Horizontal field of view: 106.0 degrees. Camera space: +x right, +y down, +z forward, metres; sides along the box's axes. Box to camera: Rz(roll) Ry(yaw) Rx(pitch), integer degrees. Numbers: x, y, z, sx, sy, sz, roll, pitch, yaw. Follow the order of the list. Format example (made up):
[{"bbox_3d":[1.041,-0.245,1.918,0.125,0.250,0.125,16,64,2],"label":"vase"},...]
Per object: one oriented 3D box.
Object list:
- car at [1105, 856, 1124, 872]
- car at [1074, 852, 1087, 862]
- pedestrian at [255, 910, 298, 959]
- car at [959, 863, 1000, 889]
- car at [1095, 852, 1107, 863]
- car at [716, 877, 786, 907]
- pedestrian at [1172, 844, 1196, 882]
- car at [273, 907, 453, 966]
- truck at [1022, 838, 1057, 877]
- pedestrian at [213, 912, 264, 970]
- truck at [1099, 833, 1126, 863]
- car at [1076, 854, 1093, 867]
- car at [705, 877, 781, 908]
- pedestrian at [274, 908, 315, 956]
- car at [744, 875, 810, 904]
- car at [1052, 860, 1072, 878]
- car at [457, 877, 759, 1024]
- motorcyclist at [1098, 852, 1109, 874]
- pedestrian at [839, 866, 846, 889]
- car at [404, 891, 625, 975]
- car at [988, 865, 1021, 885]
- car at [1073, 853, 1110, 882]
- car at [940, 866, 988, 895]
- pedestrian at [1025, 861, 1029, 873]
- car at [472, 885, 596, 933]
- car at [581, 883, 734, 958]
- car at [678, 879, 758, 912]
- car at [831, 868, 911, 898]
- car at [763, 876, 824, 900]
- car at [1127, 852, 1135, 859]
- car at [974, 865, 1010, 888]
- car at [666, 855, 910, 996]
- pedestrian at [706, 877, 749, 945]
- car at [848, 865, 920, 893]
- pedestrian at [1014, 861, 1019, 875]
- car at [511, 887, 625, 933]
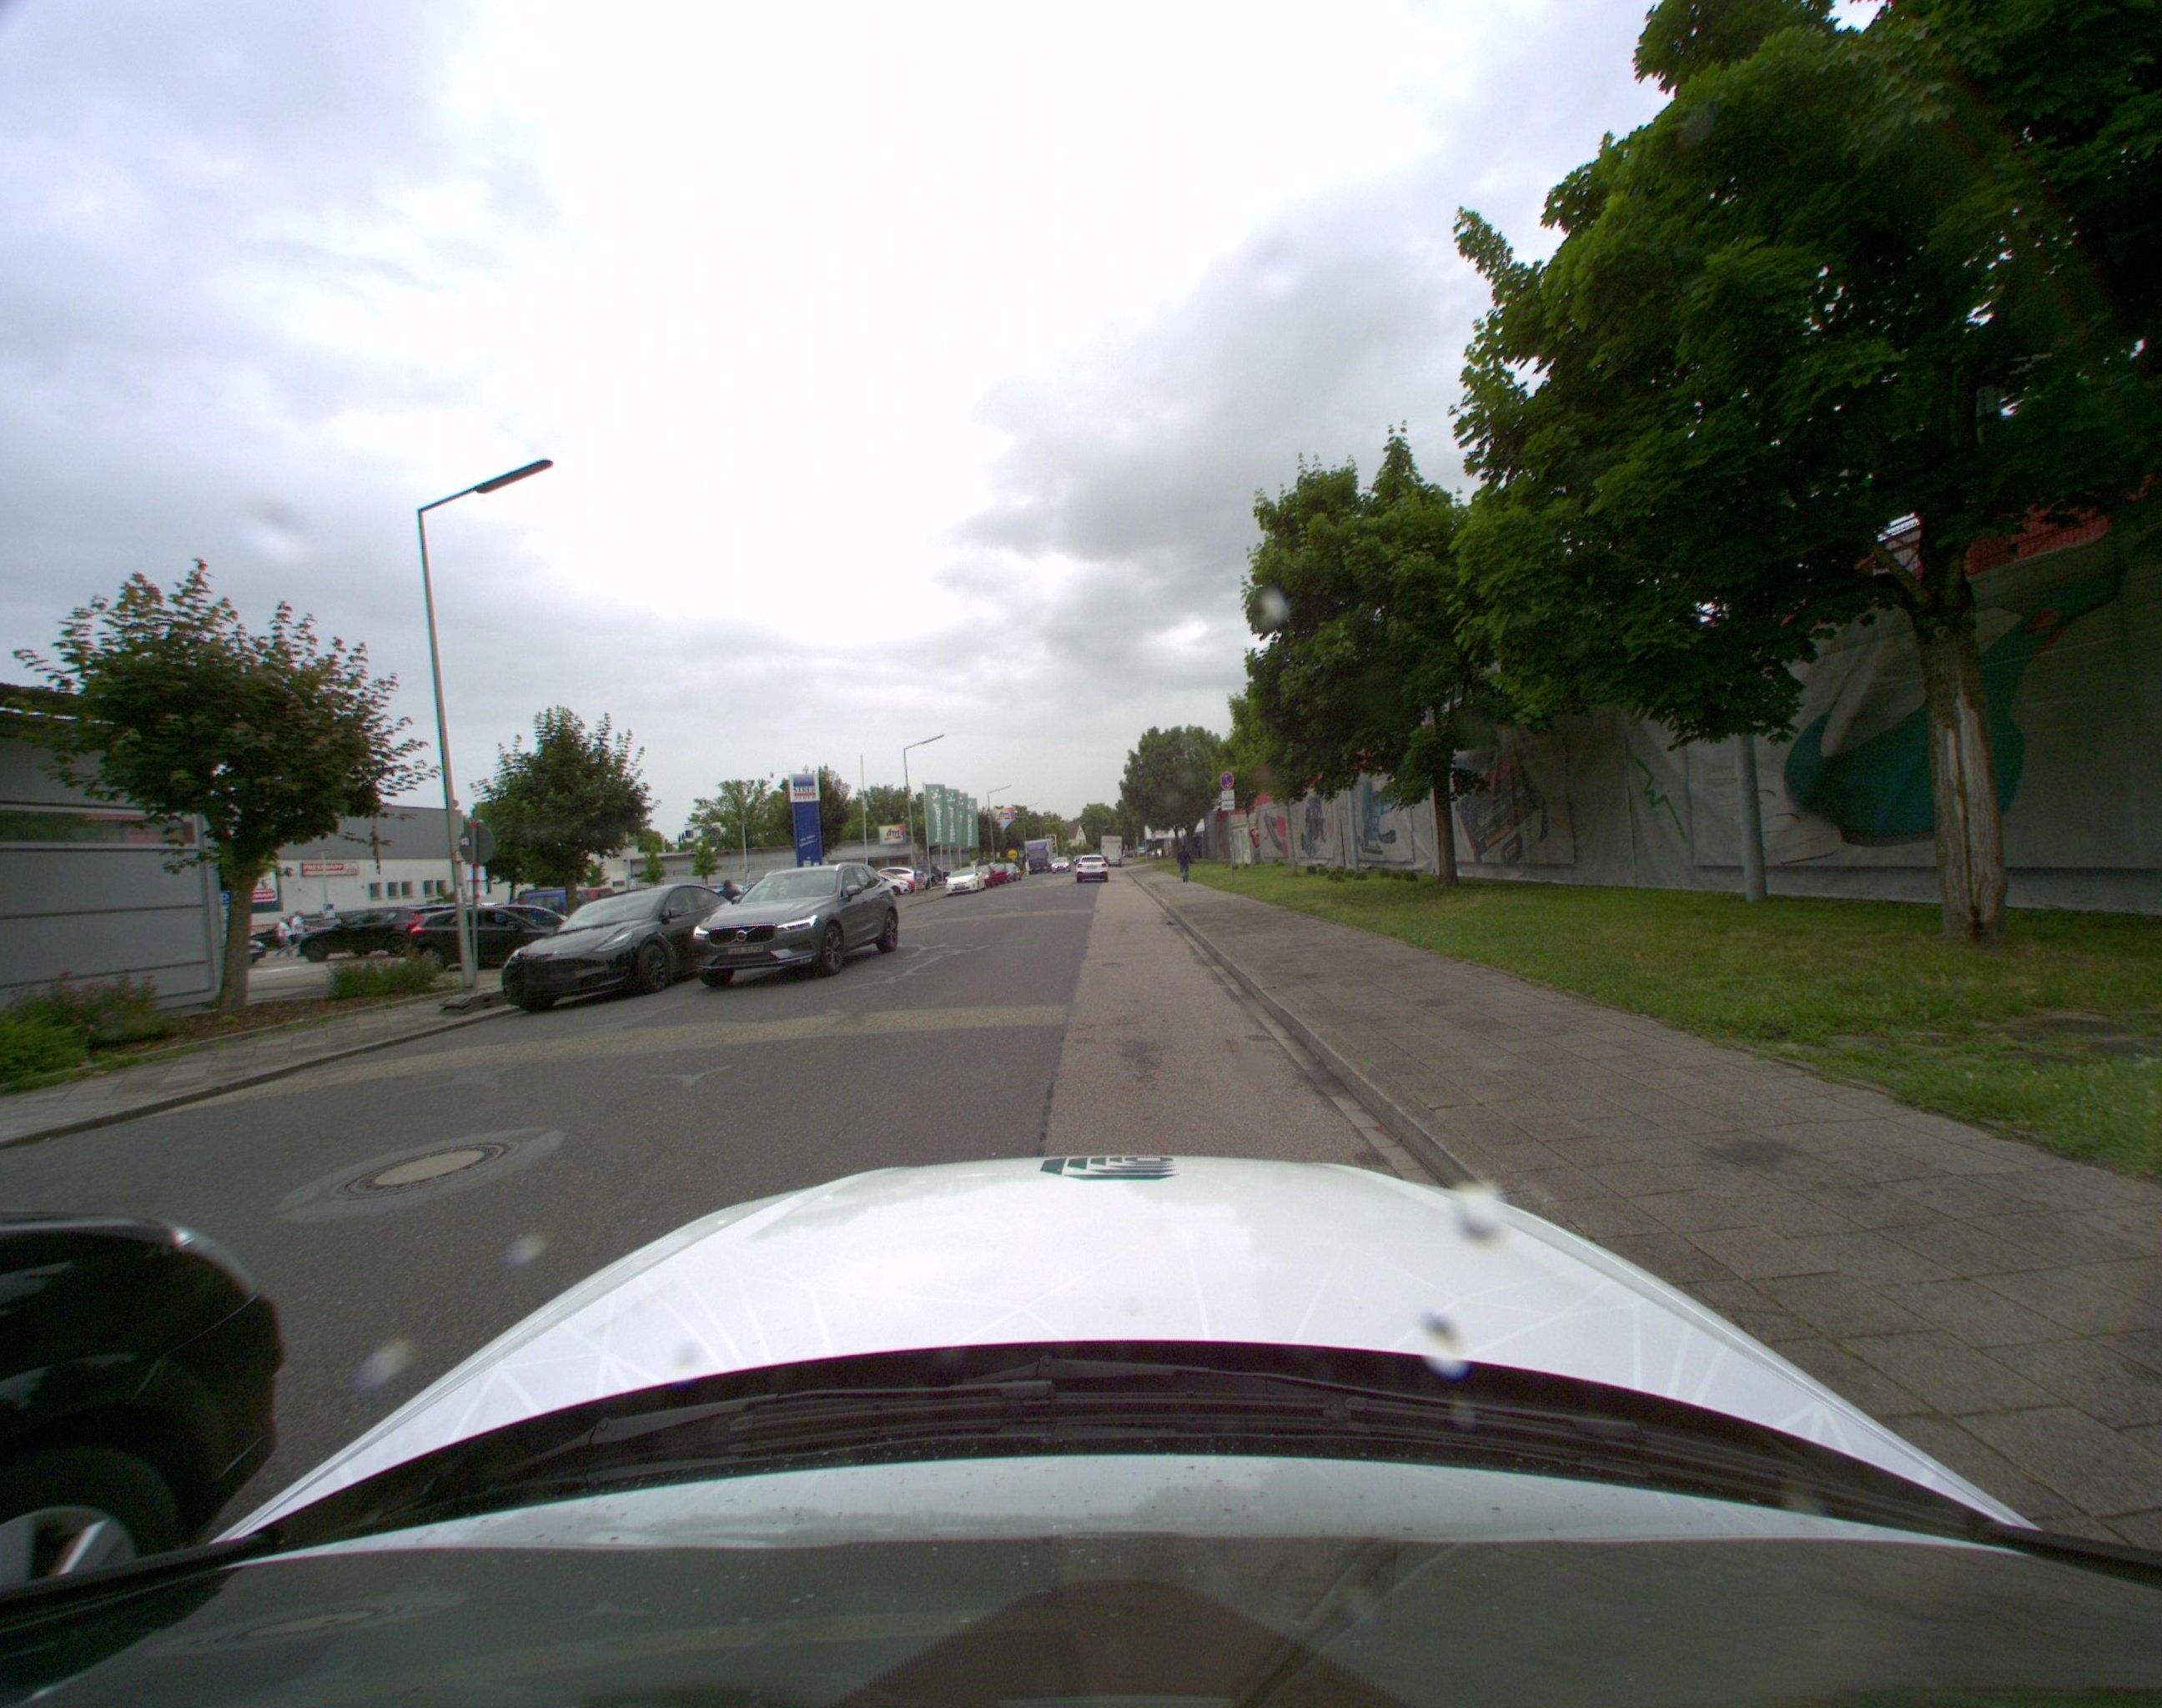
[{"bbox_3d":[3.922,1.204,96.186,1.987,1.806,4.000,-3,-1,1],"label":"car"},{"bbox_3d":[-0.049,0.553,140.016,1.987,1.684,4.000,-3,-1,1],"label":"car"},{"bbox_3d":[-29.689,2.951,30.059,0.797,1.715,0.696,-3,0,-3],"label":"pedestrian"},{"bbox_3d":[-6.421,1.384,52.097,1.891,1.367,4.002,-4,0,2],"label":"car"},{"bbox_3d":[3.437,0.609,140.295,1.864,1.662,4.000,-5,0,0],"label":"car"},{"bbox_3d":[-22.989,2.661,56.849,3.972,1.669,1.877,-5,0,2],"label":"car"},{"bbox_3d":[4.606,0.394,36.379,0.915,1.635,0.853,-3,-1,4],"label":"pedestrian"},{"bbox_3d":[-23.646,2.683,27.005,3.995,1.485,1.866,-3,0,-15],"label":"car"},{"bbox_3d":[-4.551,0.381,91.106,2.962,3.955,6.408,-6,0,2],"label":"truck"},{"bbox_3d":[-26.729,2.747,25.855,0.797,1.715,0.696,-3,0,-3],"label":"pedestrian"},{"bbox_3d":[3.956,-0.647,105.300,3.124,3.585,10.051,-3,-1,1],"label":"truck"},{"bbox_3d":[0.437,0.816,100.195,1.931,1.367,4.001,-5,0,1],"label":"car"},{"bbox_3d":[-21.980,2.494,53.059,3.972,1.669,1.877,-5,0,2],"label":"car"},{"bbox_3d":[-30.034,2.980,31.103,0.797,1.715,0.696,-3,0,-3],"label":"pedestrian"},{"bbox_3d":[-22.074,2.561,59.204,3.972,1.669,1.877,-5,0,2],"label":"car"},{"bbox_3d":[-1.810,1.389,77.998,1.592,1.528,3.530,-6,-1,2],"label":"car"},{"bbox_3d":[-7.084,1.331,12.891,1.940,1.526,4.403,-9,0,1],"label":"car"},{"bbox_3d":[1.654,0.629,59.194,0.622,1.554,0.605,-5,0,4],"label":"motorcyclist"},{"bbox_3d":[-16.320,1.620,55.689,0.330,1.570,0.502,-3,0,-12],"label":"pedestrian"},{"bbox_3d":[-13.380,1.844,19.411,3.859,1.620,1.929,-3,0,2],"label":"car"},{"bbox_3d":[-5.927,1.623,63.500,1.891,1.367,4.002,-4,0,2],"label":"car"},{"bbox_3d":[0.640,0.742,46.806,1.879,1.531,4.257,-2,0,3],"label":"car"},{"bbox_3d":[-6.455,1.441,45.460,1.891,1.367,4.002,-3,0,2],"label":"car"},{"bbox_3d":[-6.886,1.662,103.773,0.401,1.531,0.485,-5,0,-4],"label":"pedestrian"},{"bbox_3d":[-23.735,2.363,35.436,3.972,1.669,1.877,-5,0,2],"label":"car"},{"bbox_3d":[-13.802,2.131,26.739,3.924,2.013,1.758,-5,0,-5],"label":"car"},{"bbox_3d":[-22.537,2.575,50.629,3.972,1.669,1.877,-5,0,2],"label":"car"},{"bbox_3d":[-12.285,1.682,47.839,4.198,1.463,1.949,-3,0,-6],"label":"car"},{"bbox_3d":[-22.433,2.661,63.562,3.971,1.492,1.787,-4,0,2],"label":"car"},{"bbox_3d":[12.358,0.375,200.138,1.879,1.683,4.257,-2,0,3],"label":"car"},{"bbox_3d":[-6.250,1.569,57.588,1.891,1.367,4.002,-4,0,2],"label":"car"},{"bbox_3d":[-4.381,0.956,13.081,1.925,1.683,4.499,-6,0,3],"label":"car"},{"bbox_3d":[-9.450,1.510,21.801,0.773,1.715,0.696,-4,0,-3],"label":"pedestrian"},{"bbox_3d":[-12.725,1.587,52.769,4.127,1.463,1.896,-5,0,-4],"label":"car"},{"bbox_3d":[-7.592,1.662,95.906,0.401,1.531,0.485,-5,0,-4],"label":"pedestrian"},{"bbox_3d":[-23.799,2.573,37.852,3.972,1.669,1.877,-5,0,2],"label":"car"}]
